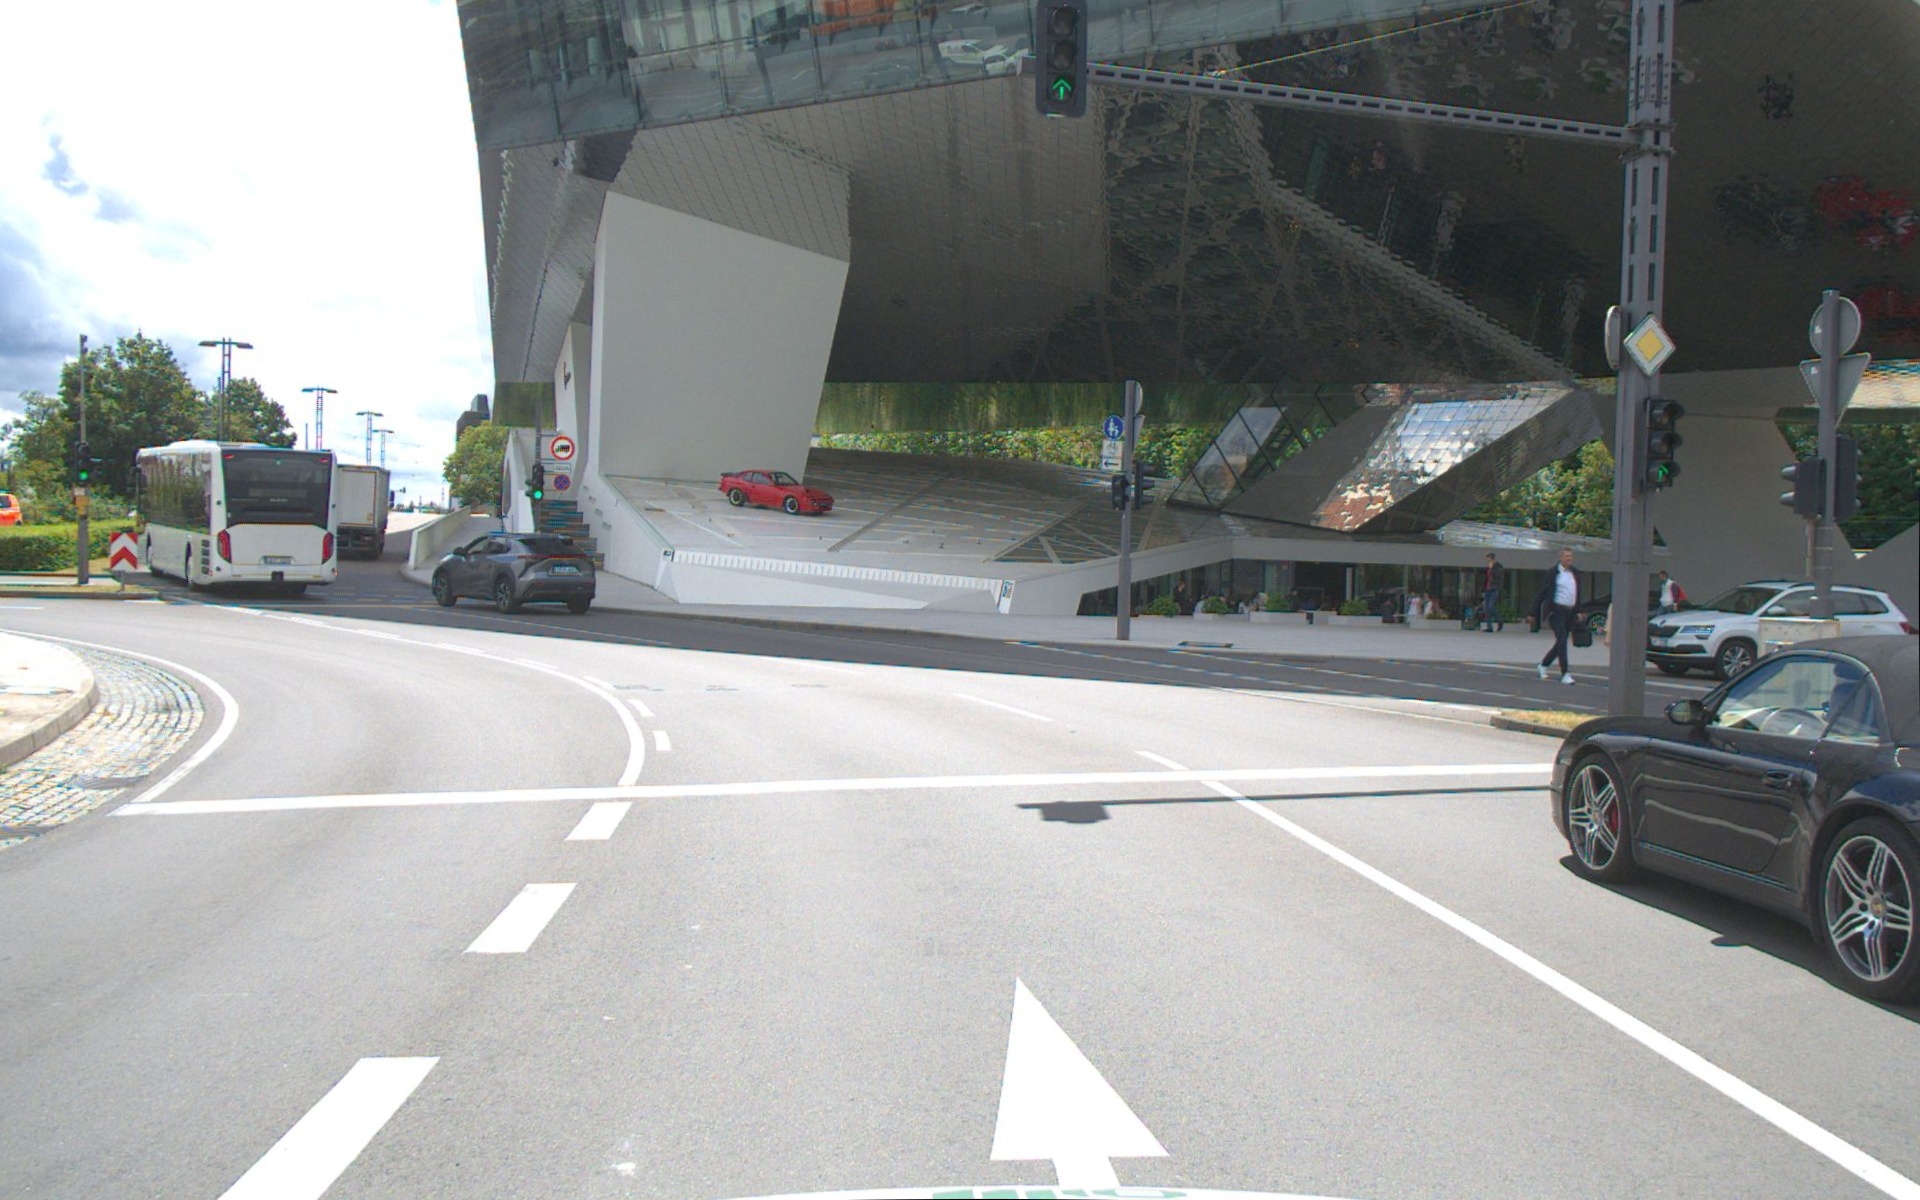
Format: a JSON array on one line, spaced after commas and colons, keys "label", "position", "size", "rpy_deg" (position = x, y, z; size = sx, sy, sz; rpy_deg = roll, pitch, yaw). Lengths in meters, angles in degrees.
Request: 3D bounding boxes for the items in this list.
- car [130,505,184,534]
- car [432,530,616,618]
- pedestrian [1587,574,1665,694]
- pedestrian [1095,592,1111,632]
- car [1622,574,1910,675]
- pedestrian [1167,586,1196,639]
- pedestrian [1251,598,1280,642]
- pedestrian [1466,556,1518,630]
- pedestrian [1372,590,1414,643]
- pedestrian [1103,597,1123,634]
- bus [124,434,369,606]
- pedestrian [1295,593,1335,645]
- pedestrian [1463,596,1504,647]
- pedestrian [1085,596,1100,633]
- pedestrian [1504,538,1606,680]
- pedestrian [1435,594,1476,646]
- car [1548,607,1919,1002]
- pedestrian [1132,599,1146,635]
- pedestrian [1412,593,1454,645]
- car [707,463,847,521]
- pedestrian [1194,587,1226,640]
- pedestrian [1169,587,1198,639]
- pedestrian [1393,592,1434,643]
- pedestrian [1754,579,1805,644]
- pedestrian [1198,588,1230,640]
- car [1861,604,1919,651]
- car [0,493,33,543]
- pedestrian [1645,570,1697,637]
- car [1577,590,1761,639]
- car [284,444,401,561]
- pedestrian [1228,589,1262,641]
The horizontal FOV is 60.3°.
[{"label": "car", "position": [-44.934, -4.527, 92.648], "size": [1.725, 1.421, 4.658], "rpy_deg": [2, 3, -14]}, {"label": "car", "position": [-9.099, -0.539, 34.384], "size": [1.985, 1.665, 3.935], "rpy_deg": [3, -1, -44]}, {"label": "pedestrian", "position": [8.717, 0.440, 21.642], "size": [0.758, 1.522, 0.579], "rpy_deg": [2, -1, 42]}, {"label": "pedestrian", "position": [4.631, 0.393, 53.530], "size": [0.387, 1.275, 0.400], "rpy_deg": [2, -1, -5]}, {"label": "car", "position": [13.109, 0.387, 27.001], "size": [3.914, 1.577, 1.834], "rpy_deg": [0, 0, -10]}, {"label": "pedestrian", "position": [6.894, 0.391, 51.478], "size": [0.810, 1.600, 0.924], "rpy_deg": [2, -1, 7]}, {"label": "pedestrian", "position": [9.491, 0.624, 51.328], "size": [0.631, 1.341, 0.691], "rpy_deg": [2, -1, 32]}, {"label": "pedestrian", "position": [13.719, -0.181, 42.645], "size": [0.817, 1.858, 0.916], "rpy_deg": [2, -1, -25]}, {"label": "pedestrian", "position": [13.534, 0.511, 51.715], "size": [0.817, 1.600, 0.916], "rpy_deg": [2, -1, -25]}, {"label": "pedestrian", "position": [5.305, 0.531, 57.326], "size": [0.549, 1.275, 0.474], "rpy_deg": [2, -1, 24]}, {"label": "bus", "position": [-17.420, -1.998, 39.672], "size": [3.045, 3.419, 12.080], "rpy_deg": [3, 2, -34]}, {"label": "pedestrian", "position": [11.284, 0.602, 52.623], "size": [0.817, 1.600, 0.916], "rpy_deg": [2, -1, -25]}, {"label": "pedestrian", "position": [16.751, 0.676, 52.936], "size": [0.815, 1.600, 0.919], "rpy_deg": [2, -1, -18]}, {"label": "pedestrian", "position": [4.535, 0.494, 56.515], "size": [0.387, 1.275, 0.561], "rpy_deg": [2, -1, -5]}, {"label": "pedestrian", "position": [8.807, 0.109, 24.542], "size": [0.934, 2.019, 1.381], "rpy_deg": [2, 2, 0]}, {"label": "pedestrian", "position": [15.788, 0.636, 52.721], "size": [0.817, 1.600, 0.916], "rpy_deg": [2, -1, -25]}, {"label": "car", "position": [4.222, 0.738, 7.106], "size": [1.798, 1.348, 3.998], "rpy_deg": [0, 1, -3]}, {"label": "pedestrian", "position": [6.371, 0.607, 58.887], "size": [0.462, 1.275, 0.562], "rpy_deg": [2, -1, 7]}, {"label": "pedestrian", "position": [14.781, 0.589, 51.710], "size": [0.817, 1.600, 0.916], "rpy_deg": [2, -1, -25]}, {"label": "car", "position": [-6.278, -3.725, 56.671], "size": [4.420, 1.417, 1.996], "rpy_deg": [10, 9, 31]}, {"label": "pedestrian", "position": [7.731, 0.422, 51.119], "size": [0.901, 1.600, 0.831], "rpy_deg": [2, -1, 11]}, {"label": "pedestrian", "position": [7.124, 0.409, 52.676], "size": [0.810, 1.600, 0.924], "rpy_deg": [2, -1, 12]}, {"label": "pedestrian", "position": [14.423, 0.550, 52.572], "size": [0.817, 1.600, 0.916], "rpy_deg": [2, -1, -25]}, {"label": "pedestrian", "position": [20.313, 0.278, 41.012], "size": [0.773, 1.567, 0.799], "rpy_deg": [2, -1, -20]}, {"label": "pedestrian", "position": [8.030, 0.442, 52.280], "size": [0.901, 1.600, 0.831], "rpy_deg": [2, -1, 11]}, {"label": "car", "position": [33.661, 1.006, 57.198], "size": [3.905, 1.576, 2.000], "rpy_deg": [2, -1, 0]}, {"label": "car", "position": [-39.845, -3.366, 67.704], "size": [1.958, 2.017, 4.823], "rpy_deg": [0, 2, -12]}, {"label": "pedestrian", "position": [18.535, 0.092, 43.123], "size": [0.817, 1.705, 0.916], "rpy_deg": [2, -1, -25]}, {"label": "car", "position": [20.809, 0.418, 48.664], "size": [4.595, 1.242, 1.988], "rpy_deg": [2, -1, 42]}, {"label": "car", "position": [-22.305, -3.376, 60.205], "size": [3.283, 3.565, 9.297], "rpy_deg": [2, 0, -17]}, {"label": "pedestrian", "position": [8.948, 0.476, 51.847], "size": [0.780, 1.600, 0.691], "rpy_deg": [2, -1, 36]}]
